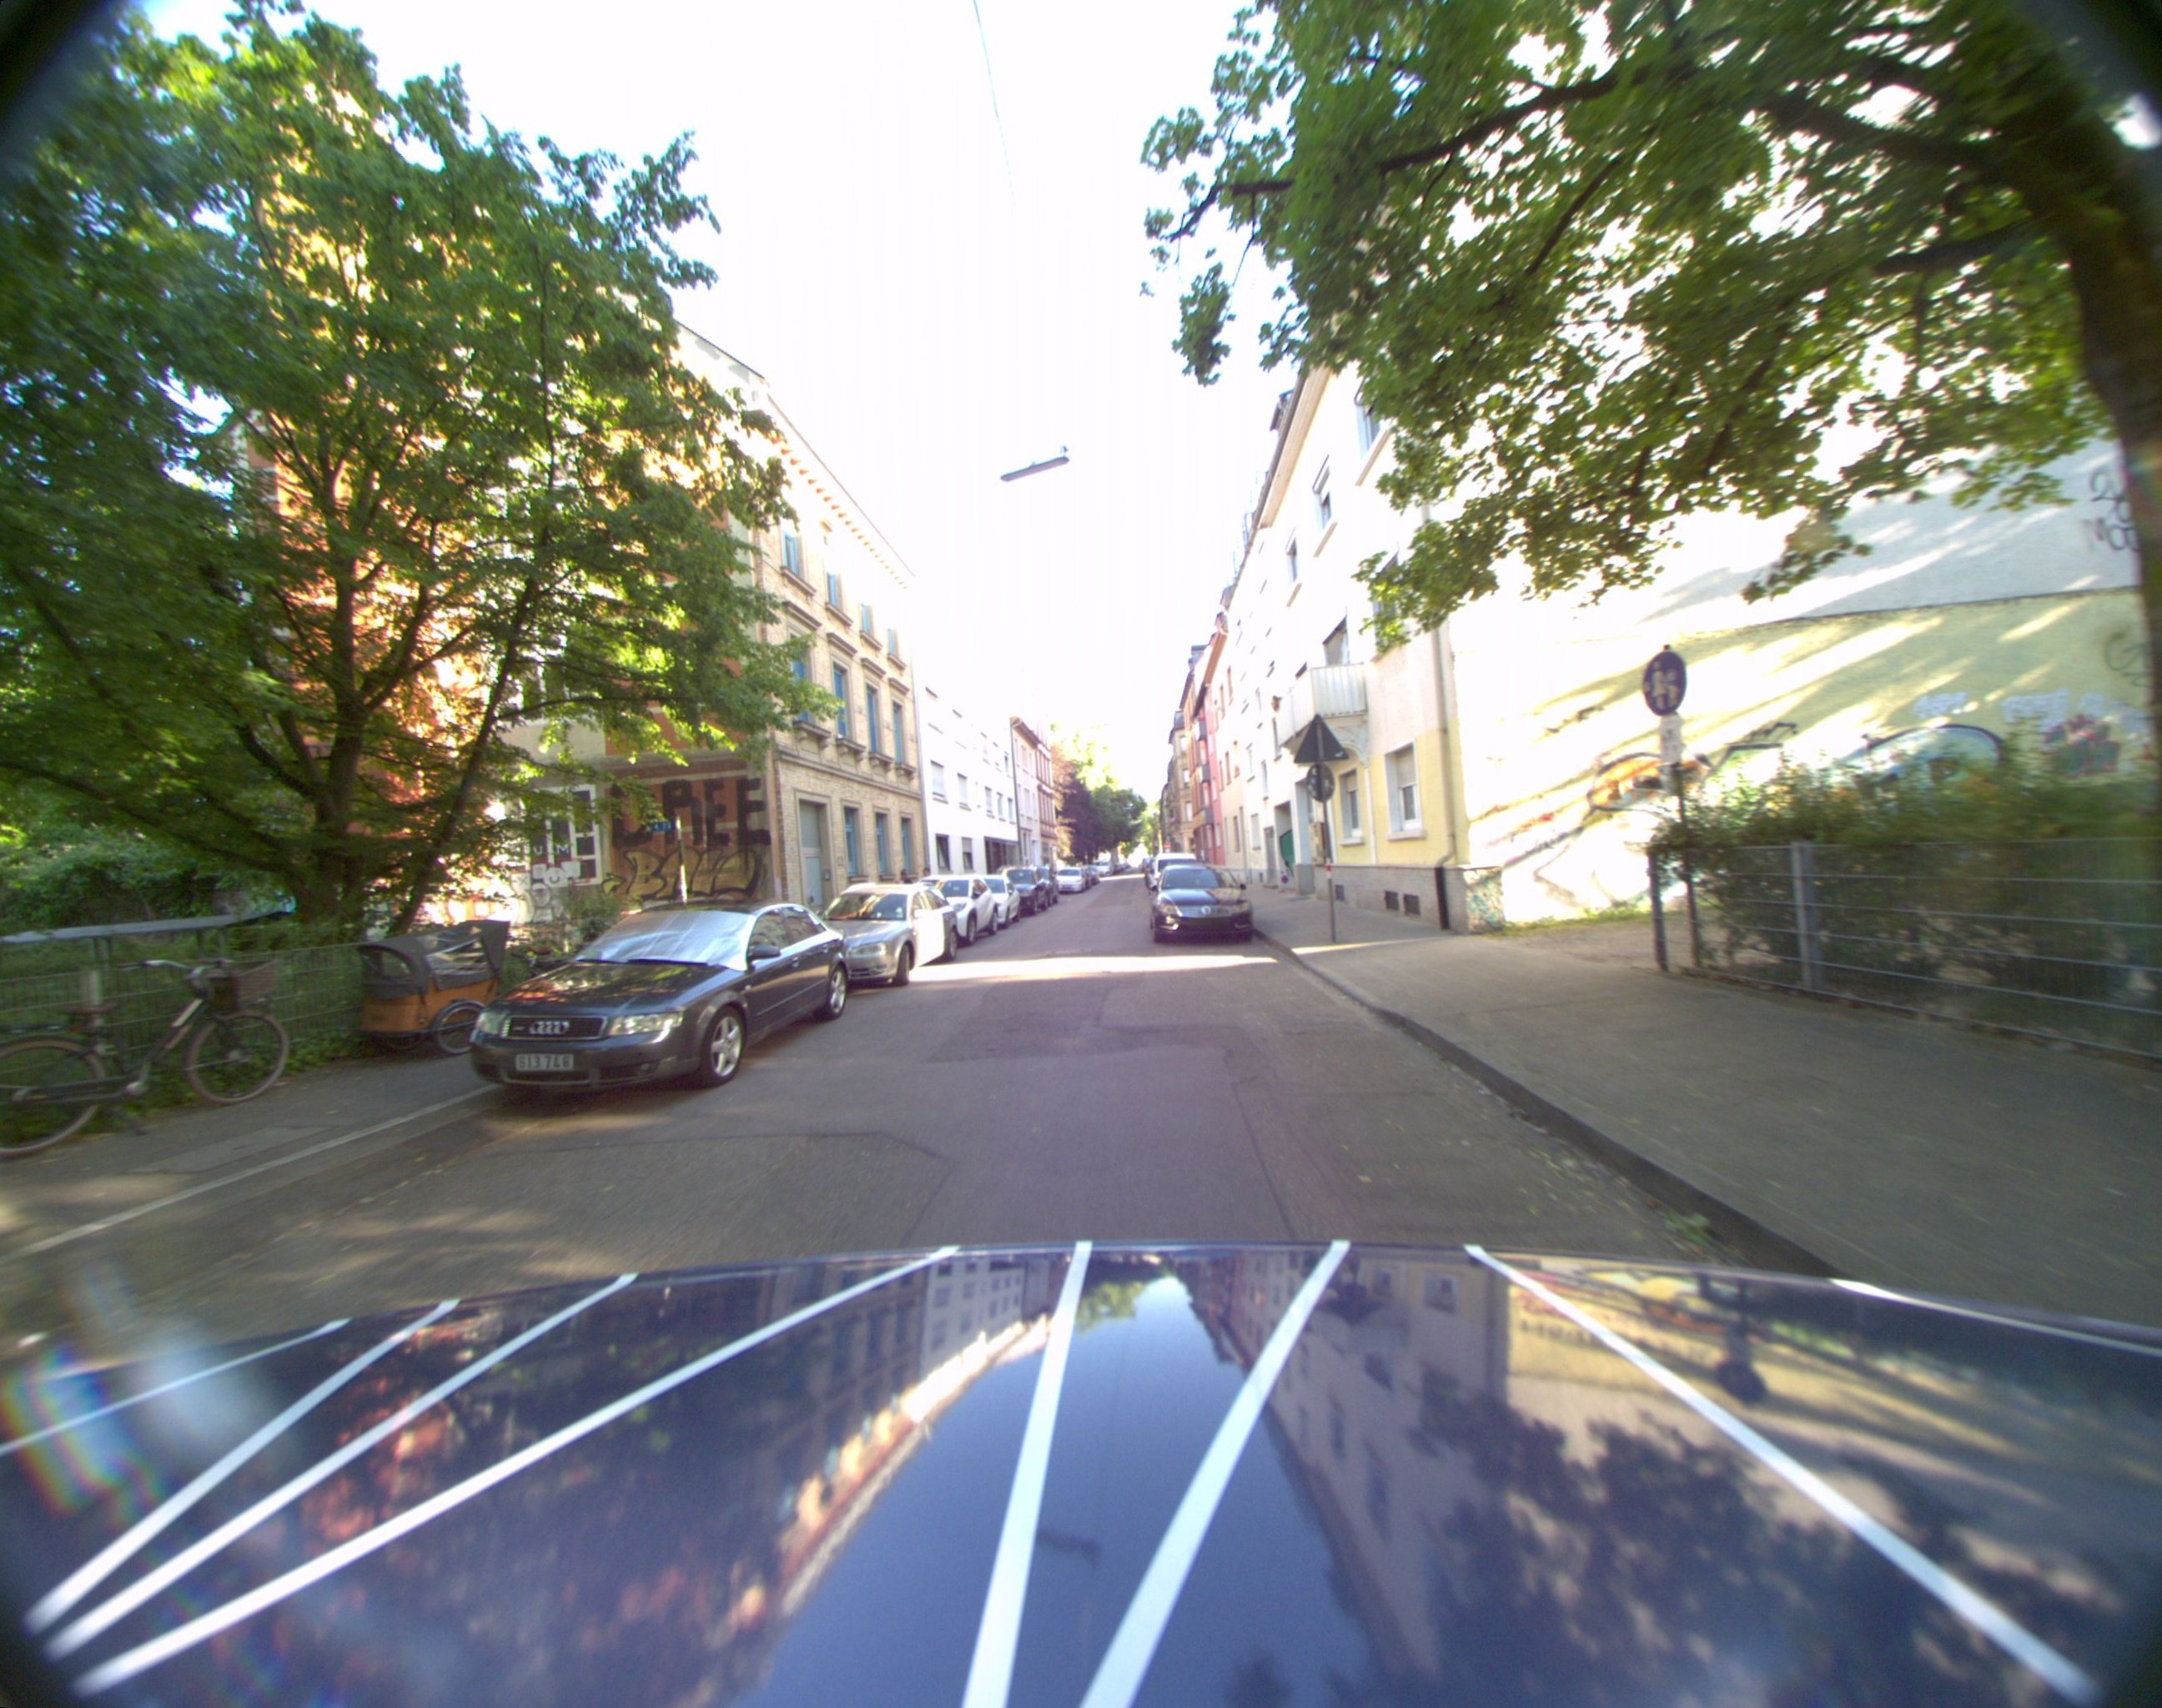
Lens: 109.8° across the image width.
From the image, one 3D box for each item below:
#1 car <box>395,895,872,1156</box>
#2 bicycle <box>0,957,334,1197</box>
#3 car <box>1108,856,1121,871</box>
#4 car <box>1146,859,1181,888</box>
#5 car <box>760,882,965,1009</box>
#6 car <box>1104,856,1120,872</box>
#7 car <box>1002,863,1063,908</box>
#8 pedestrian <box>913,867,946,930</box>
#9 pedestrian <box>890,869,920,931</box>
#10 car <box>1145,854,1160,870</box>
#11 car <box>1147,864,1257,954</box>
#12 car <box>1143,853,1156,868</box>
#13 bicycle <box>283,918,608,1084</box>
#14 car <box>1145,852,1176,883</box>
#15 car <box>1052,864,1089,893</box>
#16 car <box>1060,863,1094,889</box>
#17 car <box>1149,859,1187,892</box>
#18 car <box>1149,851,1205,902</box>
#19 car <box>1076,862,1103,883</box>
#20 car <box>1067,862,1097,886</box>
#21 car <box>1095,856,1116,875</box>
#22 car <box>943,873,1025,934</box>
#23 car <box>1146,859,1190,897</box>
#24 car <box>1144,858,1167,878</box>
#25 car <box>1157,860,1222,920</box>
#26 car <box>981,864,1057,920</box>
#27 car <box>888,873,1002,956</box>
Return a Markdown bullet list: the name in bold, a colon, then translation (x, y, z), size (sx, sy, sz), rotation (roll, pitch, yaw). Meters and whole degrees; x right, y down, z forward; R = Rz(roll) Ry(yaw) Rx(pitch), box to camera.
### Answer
- **car**: translation (-3.643, 1.285, 7.331), size (1.725, 1.485, 4.415), rotation (-2, 0, 4)
- **bicycle**: translation (-6.766, 1.469, 5.368), size (0.848, 1.193, 1.983), rotation (-3, -1, 6)
- **car**: translation (4.868, 1.363, 110.814), size (1.768, 2.006, 4.265), rotation (-1, 0, 5)
- **car**: translation (4.565, 1.067, 42.454), size (1.768, 1.463, 3.817), rotation (-1, 0, 5)
- **car**: translation (-3.235, 1.307, 12.242), size (1.662, 1.485, 4.355), rotation (-2, 0, 5)
- **car**: translation (3.786, 1.210, 92.175), size (1.768, 1.846, 4.287), rotation (-4, 0, 5)
- **car**: translation (-1.939, 1.240, 31.724), size (1.885, 1.657, 4.329), rotation (-1, 0, 5)
- **pedestrian**: translation (-4.221, 1.234, 21.258), size (0.711, 1.699, 0.752), rotation (-1, 0, 4)
- **pedestrian**: translation (-4.925, 1.281, 21.294), size (0.598, 1.699, 0.706), rotation (-1, 0, 4)
- **car**: translation (8.631, 0.999, 91.783), size (1.768, 1.846, 3.994), rotation (-1, 0, 5)
- **car**: translation (2.237, 0.970, 15.100), size (1.783, 1.435, 4.394), rotation (-1, 0, 4)
- **car**: translation (10.116, 0.937, 112.515), size (1.768, 2.074, 4.265), rotation (-1, 0, 5)
- **bicycle**: translation (-6.455, 1.424, 7.996), size (1.293, 1.294, 2.328), rotation (-2, 0, 7)
- **car**: translation (4.948, 0.797, 47.791), size (1.768, 1.814, 4.104), rotation (-1, 0, 5)
- **car**: translation (-0.564, 1.383, 44.055), size (1.768, 1.508, 4.104), rotation (-1, 0, 5)
- **car**: translation (-0.198, 1.389, 48.809), size (1.768, 1.524, 4.104), rotation (-2, 0, 5)
- **car**: translation (4.268, 1.026, 37.769), size (1.674, 1.450, 4.086), rotation (-1, 0, 4)
- **car**: translation (3.521, 0.773, 28.438), size (1.753, 1.731, 4.316), rotation (-1, 0, 3)
- **car**: translation (0.653, 1.382, 58.391), size (1.768, 1.524, 4.104), rotation (-1, 0, 5)
- **car**: translation (0.097, 1.373, 53.266), size (1.768, 1.524, 4.104), rotation (-2, 0, 5)
- **car**: translation (2.774, 1.247, 85.632), size (1.865, 1.970, 4.483), rotation (-1, 0, 8)
- **car**: translation (-2.670, 1.336, 21.750), size (1.597, 1.442, 4.004), rotation (-2, 0, 3)
- **car**: translation (3.870, 1.019, 33.365), size (1.674, 1.518, 4.088), rotation (-1, 0, 10)
- **car**: translation (6.161, 1.110, 62.967), size (1.768, 1.524, 4.104), rotation (-1, 0, 5)
- **car**: translation (2.930, 0.927, 20.871), size (1.596, 1.442, 3.487), rotation (-1, 0, 6)
- **car**: translation (-2.075, 1.254, 26.553), size (1.769, 1.657, 4.330), rotation (-3, -1, 6)
- **car**: translation (-2.992, 1.297, 17.447), size (1.597, 1.576, 3.765), rotation (-2, 0, 5)
